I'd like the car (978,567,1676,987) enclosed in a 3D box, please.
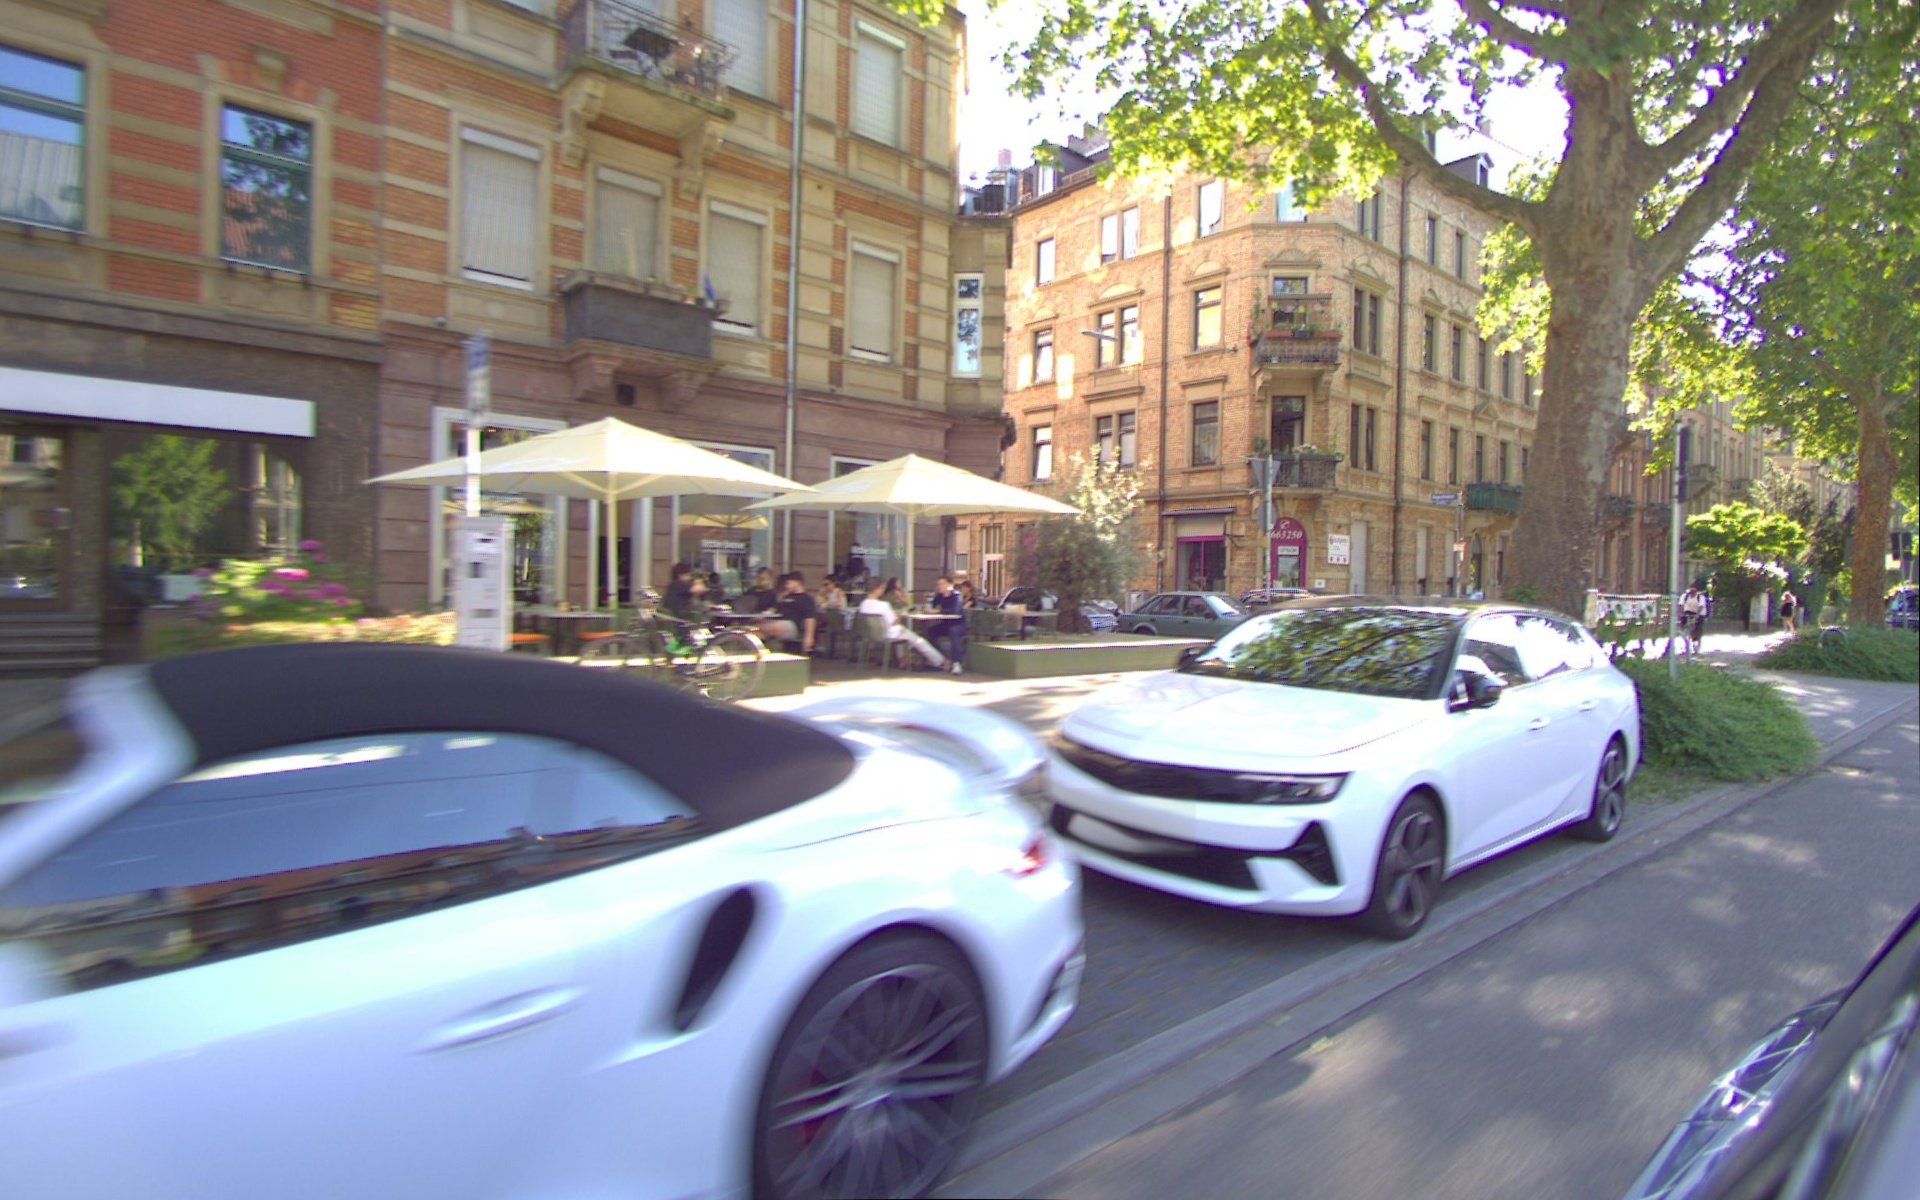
[{"bbox_3d":[2.393,0.603,5.809,4.566,1.496,1.805,0,1,-42],"label":"car"}]

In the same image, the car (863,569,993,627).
[{"bbox_3d":[-0.966,-0.097,29.025,1.892,1.504,3.655,0,2,-39],"label":"car"}]

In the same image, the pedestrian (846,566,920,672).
[{"bbox_3d":[-1.002,0.224,13.093,0.651,1.316,0.714,0,1,-41],"label":"pedestrian"}]

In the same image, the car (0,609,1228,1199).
[{"bbox_3d":[-1.330,0.739,2.263,3.930,1.343,1.833,0,1,-41],"label":"car"}]

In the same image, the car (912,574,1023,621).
[{"bbox_3d":[0.213,-0.113,35.432,1.712,1.513,3.995,0,1,-40],"label":"car"}]

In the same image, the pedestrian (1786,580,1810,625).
[{"bbox_3d":[31.981,0.096,38.620,0.607,1.648,0.531,2,2,-40],"label":"pedestrian"}]

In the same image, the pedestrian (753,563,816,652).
[{"bbox_3d":[-2.679,0.095,15.432,0.702,1.316,0.662,0,1,-41],"label":"pedestrian"}]

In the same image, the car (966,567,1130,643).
[{"bbox_3d":[2.084,0.065,24.907,1.859,1.667,3.907,0,2,-38],"label":"car"}]

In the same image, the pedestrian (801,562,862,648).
[{"bbox_3d":[-2.030,0.065,15.939,0.651,1.316,0.714,0,1,-41],"label":"pedestrian"}]

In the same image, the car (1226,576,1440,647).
[{"bbox_3d":[9.106,0.218,25.004,4.604,1.567,1.892,2,1,45],"label":"car"}]

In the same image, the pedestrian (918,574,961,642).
[{"bbox_3d":[-0.359,0.132,17.724,0.517,1.152,0.557,0,1,-41],"label":"pedestrian"}]

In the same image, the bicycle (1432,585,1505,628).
[{"bbox_3d":[14.744,0.176,29.380,0.467,1.168,1.868,0,1,-37],"label":"bicycle"}]

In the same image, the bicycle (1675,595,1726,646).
[{"bbox_3d":[17.847,0.483,24.362,2.188,1.193,0.561,1,-2,-43],"label":"bicycle"}]

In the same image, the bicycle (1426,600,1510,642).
[{"bbox_3d":[12.072,0.487,24.058,1.687,0.928,0.594,2,1,39],"label":"bicycle"}]

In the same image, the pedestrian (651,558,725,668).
[{"bbox_3d":[-3.408,0.145,12.650,0.651,1.316,0.714,0,1,-39],"label":"pedestrian"}]

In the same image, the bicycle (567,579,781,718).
[{"bbox_3d":[-2.605,0.410,9.380,1.863,1.157,0.476,0,3,-41],"label":"bicycle"}]

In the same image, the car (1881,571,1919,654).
[{"bbox_3d":[26.019,0.349,26.720,5.113,2.038,1.997,1,2,-42],"label":"car"}]

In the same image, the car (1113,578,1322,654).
[{"bbox_3d":[5.370,0.299,21.481,1.713,1.382,3.992,2,0,-43],"label":"car"}]

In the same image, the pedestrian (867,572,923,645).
[{"bbox_3d":[-1.102,0.134,17.102,0.651,1.186,0.714,0,1,-41],"label":"pedestrian"}]

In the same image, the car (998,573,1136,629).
[{"bbox_3d":[3.292,-0.011,31.660,1.715,1.567,4.121,0,2,-45],"label":"car"}]

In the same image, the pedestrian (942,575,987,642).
[{"bbox_3d":[0.081,0.139,17.211,0.517,1.116,0.557,0,1,-41],"label":"pedestrian"}]

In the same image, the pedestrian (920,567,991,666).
[{"bbox_3d":[-0.064,0.211,13.907,0.651,1.316,0.714,0,1,-41],"label":"pedestrian"}]

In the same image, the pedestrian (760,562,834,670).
[{"bbox_3d":[-2.071,0.186,12.855,0.651,1.316,0.714,0,1,-40],"label":"pedestrian"}]

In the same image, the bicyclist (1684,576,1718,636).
[{"bbox_3d":[17.830,0.149,24.348,0.633,1.398,0.543,2,-2,-42],"label":"bicyclist"}]
